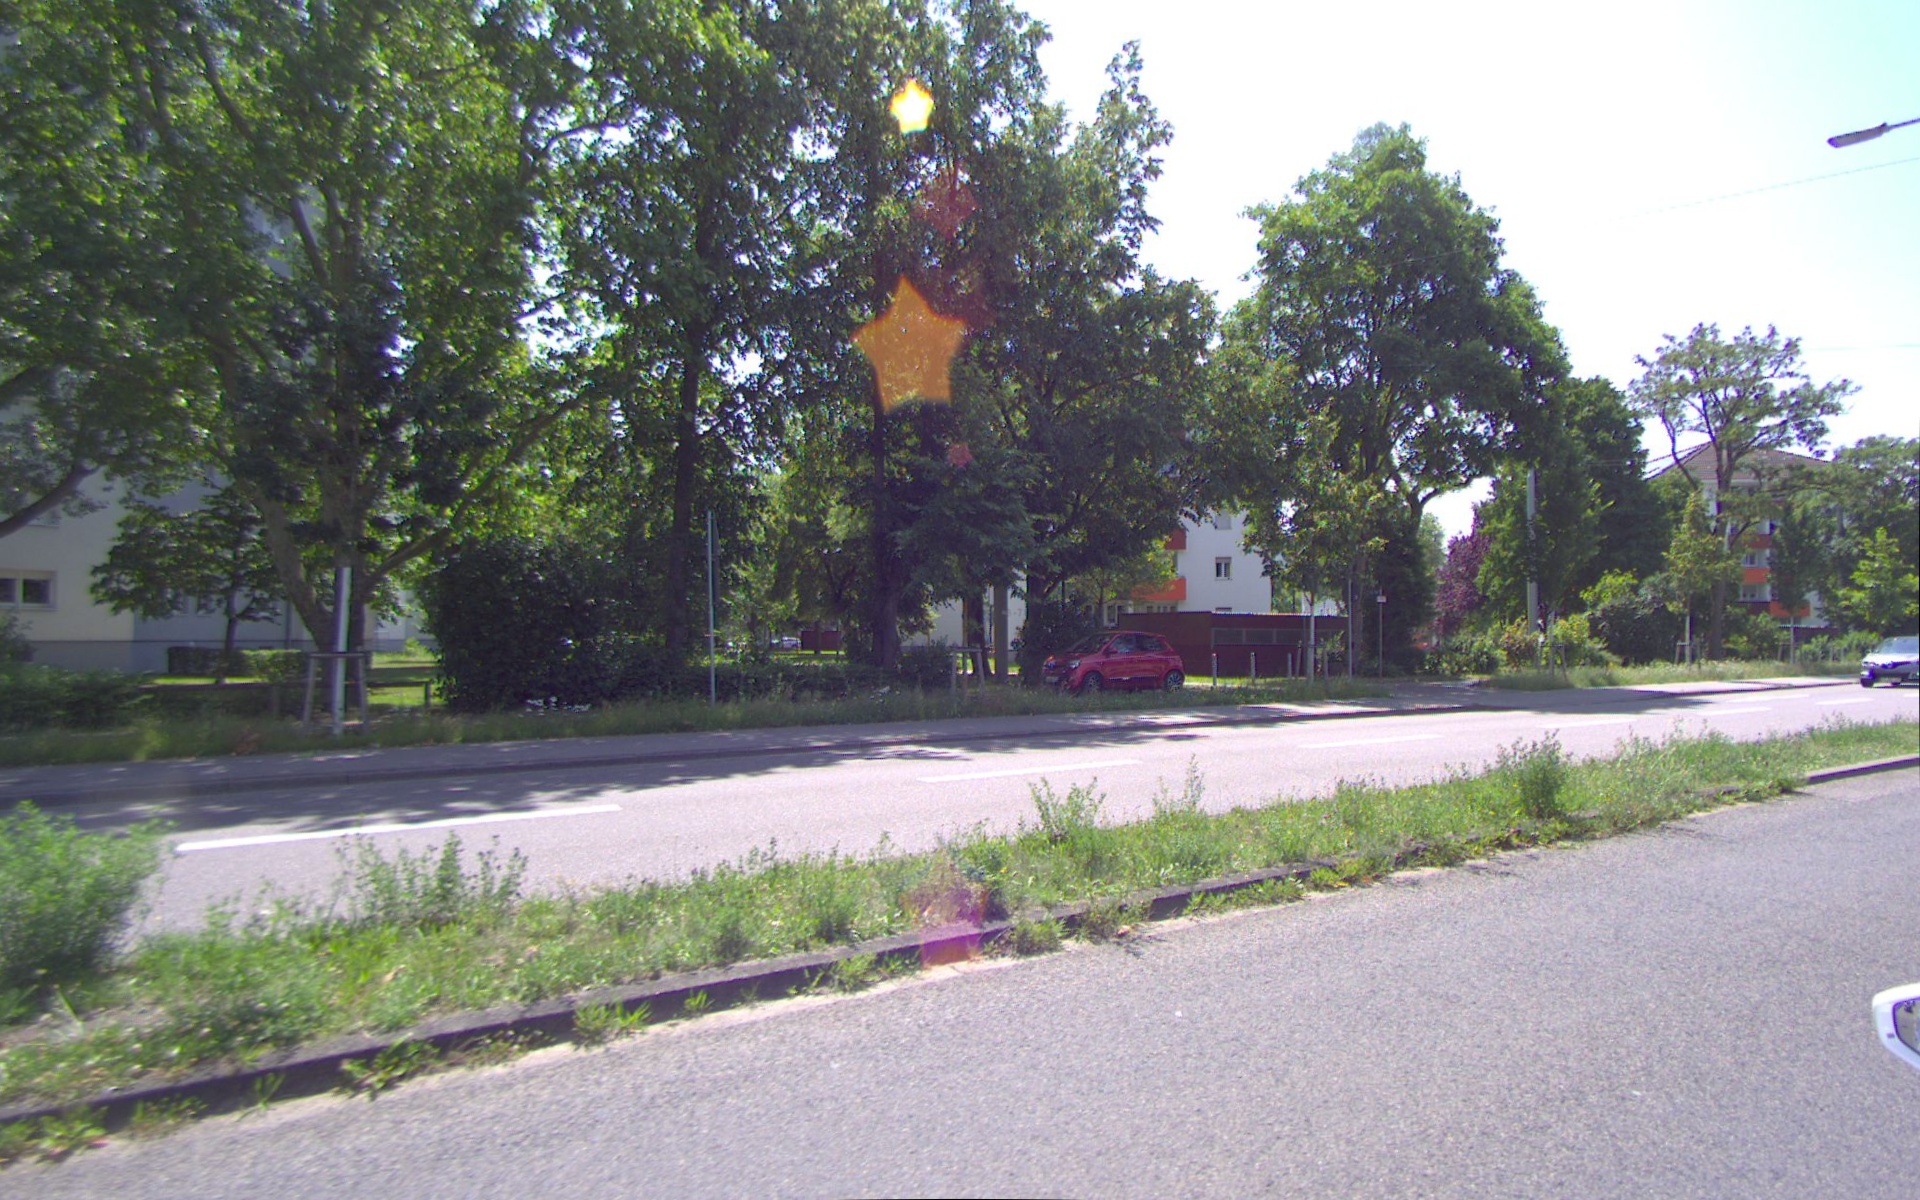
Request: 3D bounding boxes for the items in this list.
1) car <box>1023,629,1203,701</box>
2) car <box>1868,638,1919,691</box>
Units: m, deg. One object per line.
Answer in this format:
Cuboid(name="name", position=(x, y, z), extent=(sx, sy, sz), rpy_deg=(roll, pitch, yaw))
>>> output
Cuboid(name="car", position=(3.726, 1.528, 24.434), extent=(3.951, 1.606, 1.985), rpy_deg=(1, -3, -29))
Cuboid(name="car", position=(29.801, 1.983, 30.935), extent=(4.040, 1.574, 1.757), rpy_deg=(2, -3, -33))
